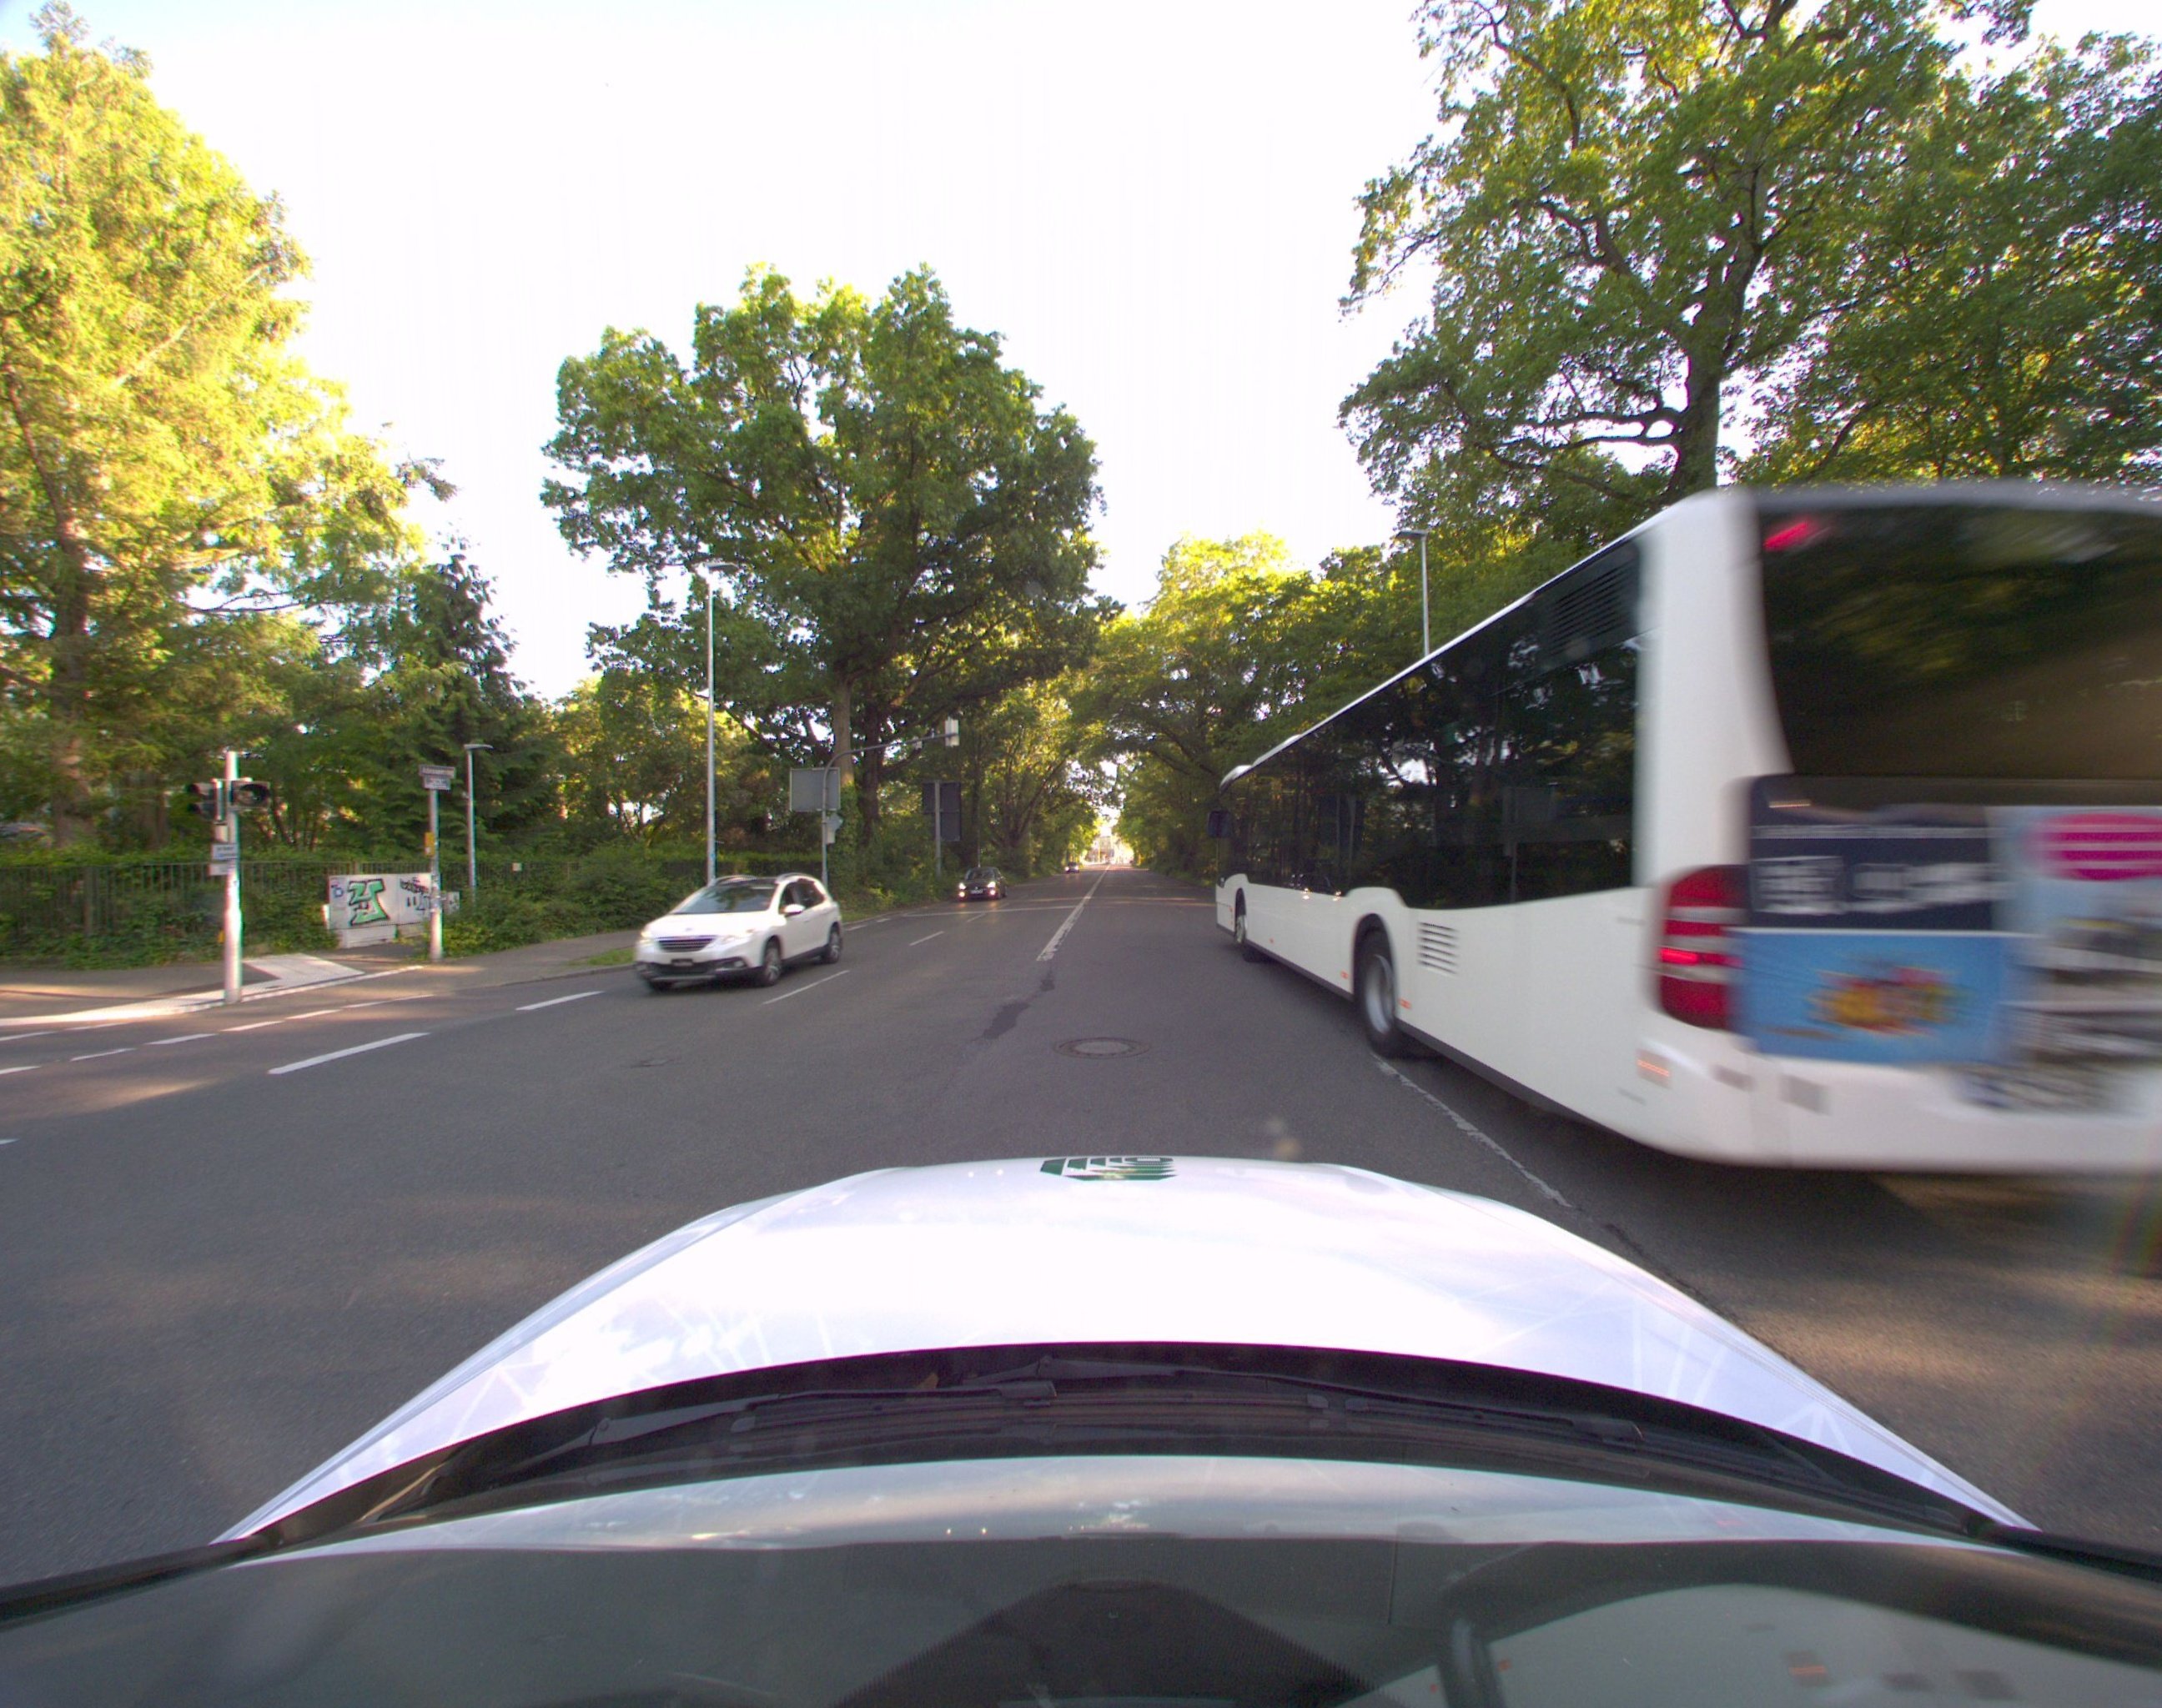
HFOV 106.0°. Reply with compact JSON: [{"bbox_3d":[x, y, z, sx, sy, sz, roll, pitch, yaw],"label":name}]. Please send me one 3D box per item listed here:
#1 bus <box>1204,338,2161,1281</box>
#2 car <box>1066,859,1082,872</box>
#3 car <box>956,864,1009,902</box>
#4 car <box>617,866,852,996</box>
[{"bbox_3d":[3.647,-0.104,8.825,3.001,3.087,12.272,1,0,1],"label":"bus"},{"bbox_3d":[-0.896,1.442,106.218,1.800,1.580,4.321,-4,-1,2],"label":"car"},{"bbox_3d":[-4.294,1.240,36.118,1.701,1.453,3.641,-4,-1,2],"label":"car"},{"bbox_3d":[-4.956,1.008,12.293,1.671,1.524,3.903,-4,-1,2],"label":"car"}]
